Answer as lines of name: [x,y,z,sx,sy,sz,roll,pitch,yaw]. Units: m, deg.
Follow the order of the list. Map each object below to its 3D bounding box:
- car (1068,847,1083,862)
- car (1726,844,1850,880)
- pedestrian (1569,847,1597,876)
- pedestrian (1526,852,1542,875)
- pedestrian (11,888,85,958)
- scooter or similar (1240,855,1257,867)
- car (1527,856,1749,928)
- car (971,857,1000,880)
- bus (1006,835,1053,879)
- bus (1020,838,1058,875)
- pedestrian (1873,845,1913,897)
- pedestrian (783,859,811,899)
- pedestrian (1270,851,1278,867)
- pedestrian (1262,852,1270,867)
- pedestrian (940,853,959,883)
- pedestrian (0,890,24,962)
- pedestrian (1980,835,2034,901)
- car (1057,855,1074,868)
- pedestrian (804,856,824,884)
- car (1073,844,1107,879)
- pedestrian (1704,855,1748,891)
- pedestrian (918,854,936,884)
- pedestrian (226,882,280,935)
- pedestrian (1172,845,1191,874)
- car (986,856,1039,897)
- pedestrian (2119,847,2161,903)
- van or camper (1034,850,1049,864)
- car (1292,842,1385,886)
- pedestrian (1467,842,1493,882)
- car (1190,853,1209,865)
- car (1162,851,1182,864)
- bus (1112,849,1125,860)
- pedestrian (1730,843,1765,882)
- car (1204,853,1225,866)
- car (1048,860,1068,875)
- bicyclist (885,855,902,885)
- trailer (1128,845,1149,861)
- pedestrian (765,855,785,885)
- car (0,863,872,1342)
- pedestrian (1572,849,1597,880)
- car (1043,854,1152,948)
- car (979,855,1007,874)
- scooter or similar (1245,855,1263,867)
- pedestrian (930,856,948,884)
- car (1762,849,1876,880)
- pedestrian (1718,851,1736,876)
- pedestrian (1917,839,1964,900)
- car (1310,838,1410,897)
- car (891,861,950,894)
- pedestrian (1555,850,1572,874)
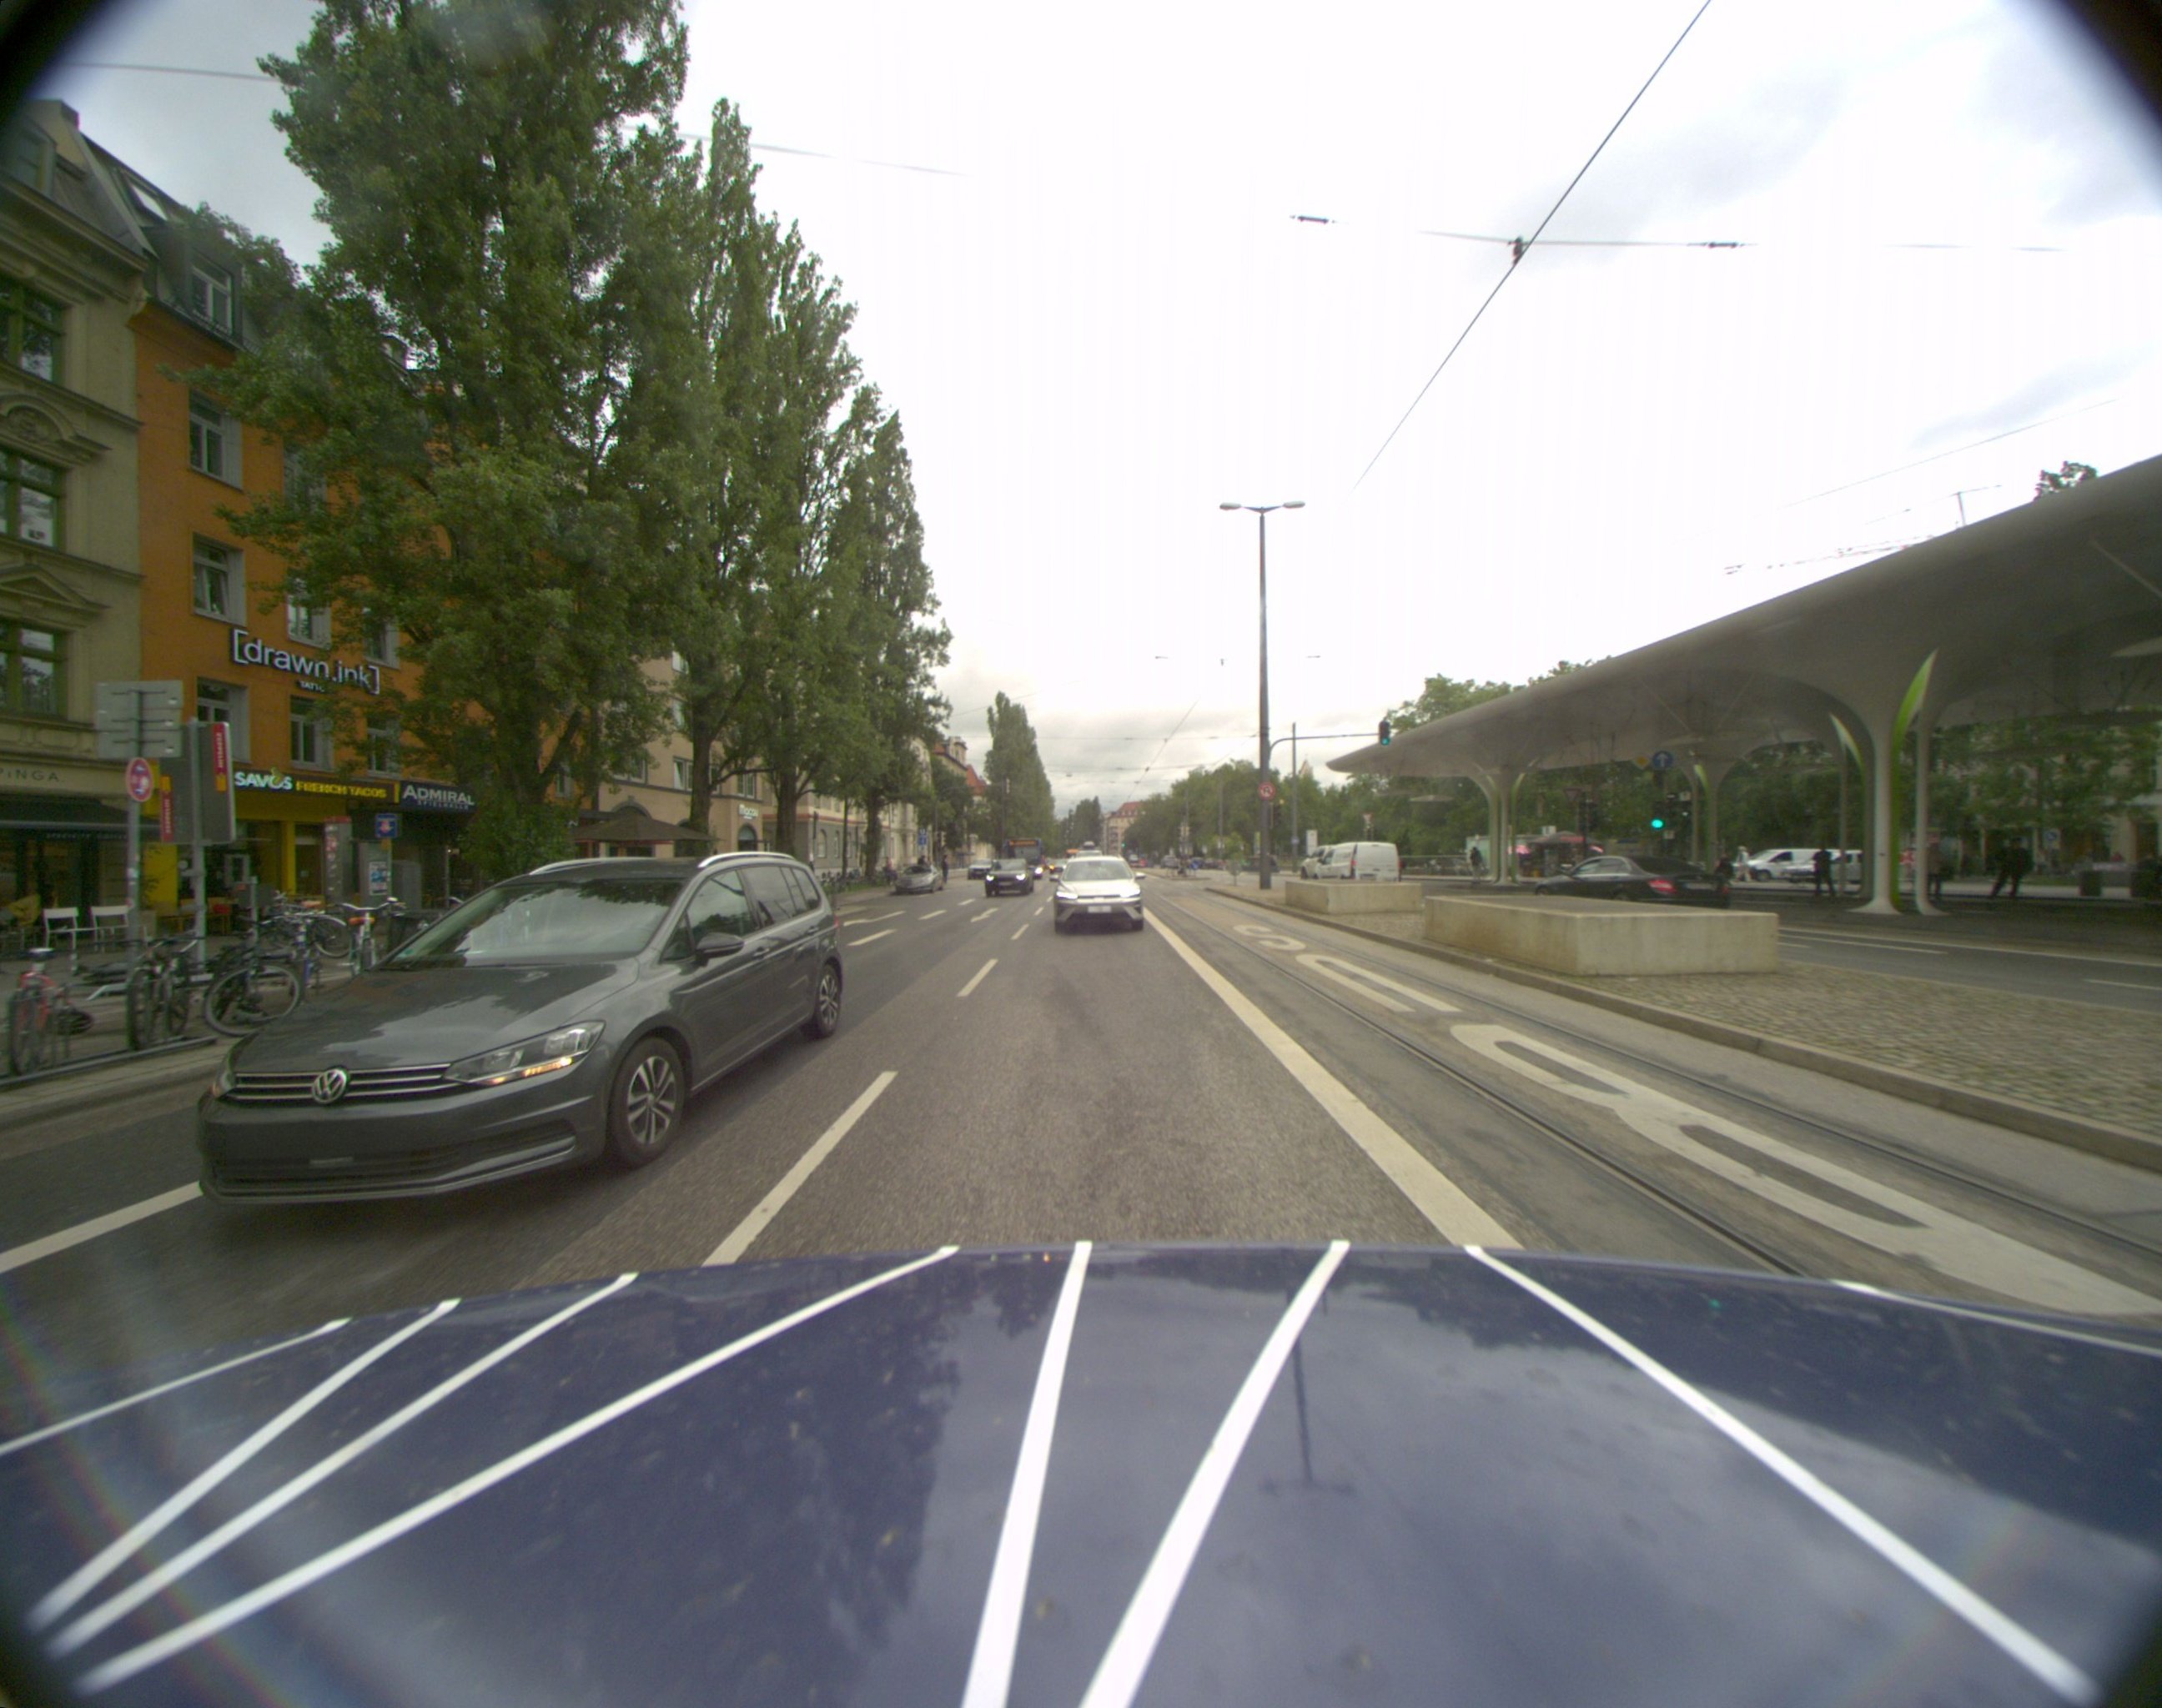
car: [-0.990,0.090,148.894,2.806,2.836,5.113,0,1,1]
car: [40.016,0.451,43.129,4.923,1.936,1.872,0,0,11]
pedestrian: [30.640,0.434,46.378,1.031,1.752,0.957,-1,1,0]
pedestrian: [30.396,0.633,50.960,0.739,1.591,0.798,0,1,16]
pedestrian: [-19.658,1.301,14.470,0.584,1.273,0.583,-1,1,0]
scooter or similar: [17.415,0.709,78.952,1.695,1.165,0.561,-1,0,-18]
car: [12.369,0.752,17.330,1.677,1.370,4.613,-1,0,0]
car: [-7.497,1.117,59.919,1.737,1.651,4.502,-1,0,0]
bus: [-3.834,0.220,58.274,2.637,2.956,9.466,-3,0,1]
bus: [-3.628,0.190,67.316,2.637,2.956,8.534,-3,0,1]
pedestrian: [24.856,0.511,23.253,0.594,1.536,0.636,-1,1,-17]
pedestrian: [-11.245,0.986,30.079,0.761,1.553,0.763,-1,0,2]
pedestrian: [19.612,0.513,77.337,0.632,1.549,0.589,0,1,0]
pedestrian: [18.810,0.552,77.198,0.632,1.549,0.589,0,1,0]
pedestrian: [-7.998,0.829,46.127,0.881,1.791,0.757,-1,0,11]
pedestrian: [-19.689,1.304,13.632,0.584,1.273,0.583,-1,1,0]
pedestrian: [26.761,0.387,21.974,0.711,1.862,0.880,0,1,28]
car: [-1.745,0.855,86.688,1.704,1.361,3.632,-1,0,1]
pedestrian: [-15.636,0.927,44.509,0.848,1.593,0.823,-1,1,4]
car: [0.563,0.445,47.996,1.998,2.100,3.999,0,1,0]
pedestrian: [23.005,0.670,27.120,0.811,1.223,1.272,-1,1,19]
pedestrian: [-8.989,0.867,44.343,0.699,1.770,0.652,-2,0,34]
pedestrian: [-19.821,1.298,18.199,0.624,1.211,0.583,-1,1,0]
pedestrian: [6.310,0.349,47.618,0.861,1.801,0.896,-2,1,-19]
car: [-2.853,0.905,32.622,1.780,1.495,3.970,-4,1,1]
pedestrian: [26.972,0.514,18.947,0.965,1.362,0.841,-1,1,7]
van or camper: [-6.382,0.464,123.750,2.124,2.086,5.513,-1,0,0]
car: [11.979,0.435,35.912,2.181,1.876,6.155,1,0,-1]
pedestrian: [18.330,0.366,34.901,0.667,1.828,0.808,-1,1,-32]
car: [16.017,0.681,103.048,1.998,1.561,4.101,-1,0,1]
car: [11.457,0.446,95.535,1.868,1.629,4.677,1,0,-1]
bus: [10.477,0.208,213.958,2.632,2.949,13.414,1,0,-1]
pedestrian: [35.548,0.449,40.562,1.003,2.002,1.027,-1,1,7]
car: [16.250,0.617,92.921,1.864,1.517,4.233,0,0,1]
car: [-2.296,1.338,76.186,1.704,1.424,4.245,4,0,1]
bicyclist: [-10.438,0.883,42.224,0.681,1.594,0.939,-1,1,1]
trailer: [10.472,-0.181,140.298,2.616,2.666,15.639,1,0,0]
pedestrian: [-17.661,0.897,43.879,0.748,1.704,1.017,-1,1,1]
car: [-3.059,0.956,5.166,1.776,1.637,4.708,-3,0,2]
pedestrian: [25.848,0.528,39.004,0.749,1.600,0.837,-1,1,-28]
car: [0.390,0.843,15.931,1.812,1.496,4.952,-5,0,2]
car: [-7.474,0.877,64.834,1.730,1.567,3.967,0,0,2]
scooter or similar: [17.435,0.712,76.771,1.692,1.165,0.562,-1,0,-2]
pedestrian: [-8.434,0.923,44.982,0.758,1.628,0.699,-1,0,-42]
car: [38.780,0.542,40.035,3.994,1.606,1.832,-1,0,9]
pedestrian: [40.662,0.603,47.836,0.635,1.573,0.636,-1,1,1]
pedestrian: [24.786,0.437,21.923,0.671,1.718,0.812,0,1,31]
car: [9.495,0.426,26.264,1.791,1.844,4.217,0,0,-2]
car: [-7.843,1.125,37.582,1.999,1.432,4.528,-1,0,-1]
pedestrian: [32.103,0.551,50.537,0.739,1.591,0.798,0,1,16]
